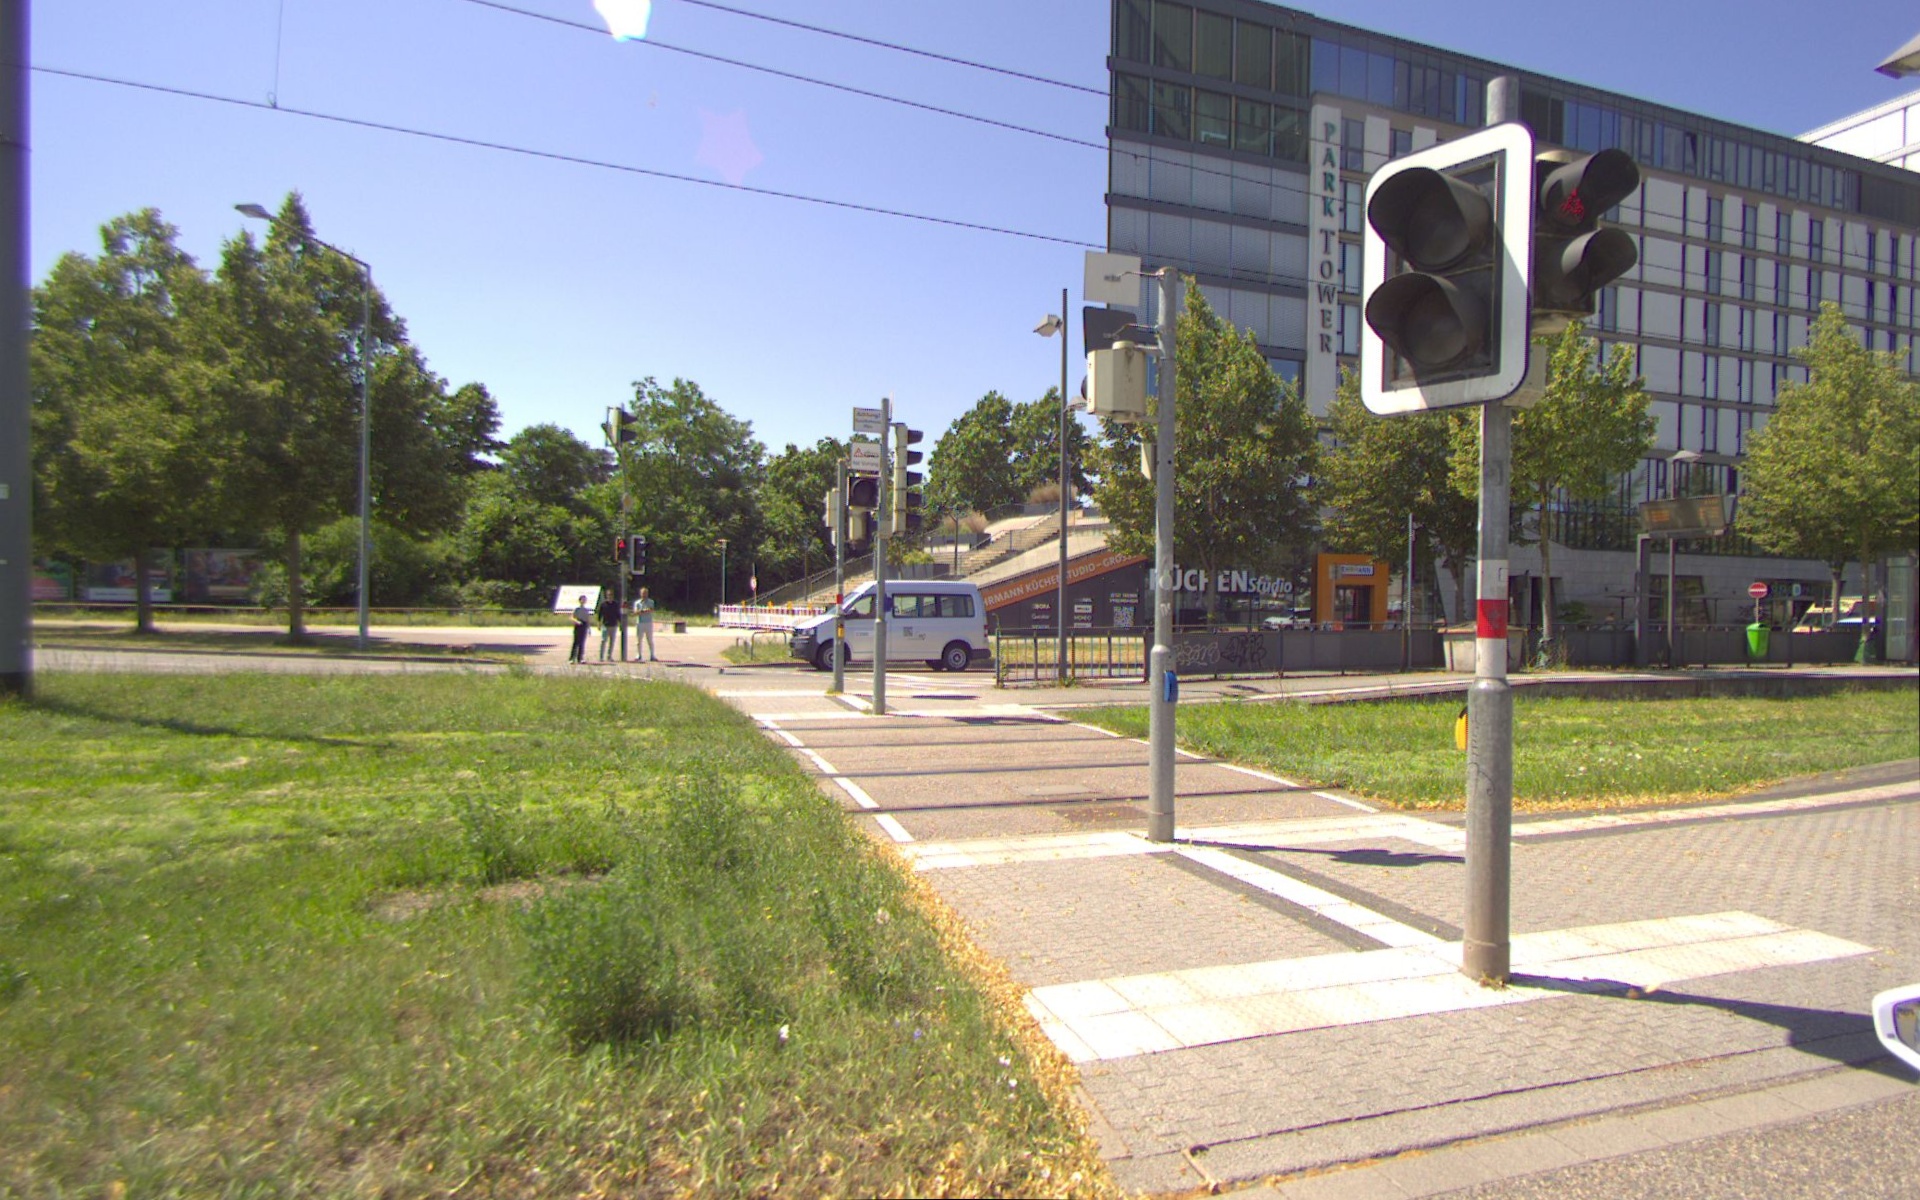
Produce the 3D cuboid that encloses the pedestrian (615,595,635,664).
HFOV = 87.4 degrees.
[{"bbox_3d":[-8.605,0.765,25.820,0.442,1.762,0.290,1,0,-20],"label":"pedestrian"}]

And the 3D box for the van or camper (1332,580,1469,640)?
[{"bbox_3d":[22.433,0.523,51.152,6.687,2.860,2.371,1,0,-22],"label":"van or camper"}]

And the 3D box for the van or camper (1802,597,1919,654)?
[{"bbox_3d":[41.291,1.160,45.123,6.667,2.418,2.175,1,0,-19],"label":"van or camper"}]

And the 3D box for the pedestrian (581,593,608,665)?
[{"bbox_3d":[-9.059,0.727,24.907,0.591,1.762,0.340,1,0,-20],"label":"pedestrian"}]

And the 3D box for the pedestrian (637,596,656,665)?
[{"bbox_3d":[-8.138,0.785,26.058,0.442,1.762,0.290,1,0,-20],"label":"pedestrian"}]

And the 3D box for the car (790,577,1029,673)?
[{"bbox_3d":[-1.243,0.622,24.379,5.454,2.134,1.992,1,0,-18],"label":"car"}]
